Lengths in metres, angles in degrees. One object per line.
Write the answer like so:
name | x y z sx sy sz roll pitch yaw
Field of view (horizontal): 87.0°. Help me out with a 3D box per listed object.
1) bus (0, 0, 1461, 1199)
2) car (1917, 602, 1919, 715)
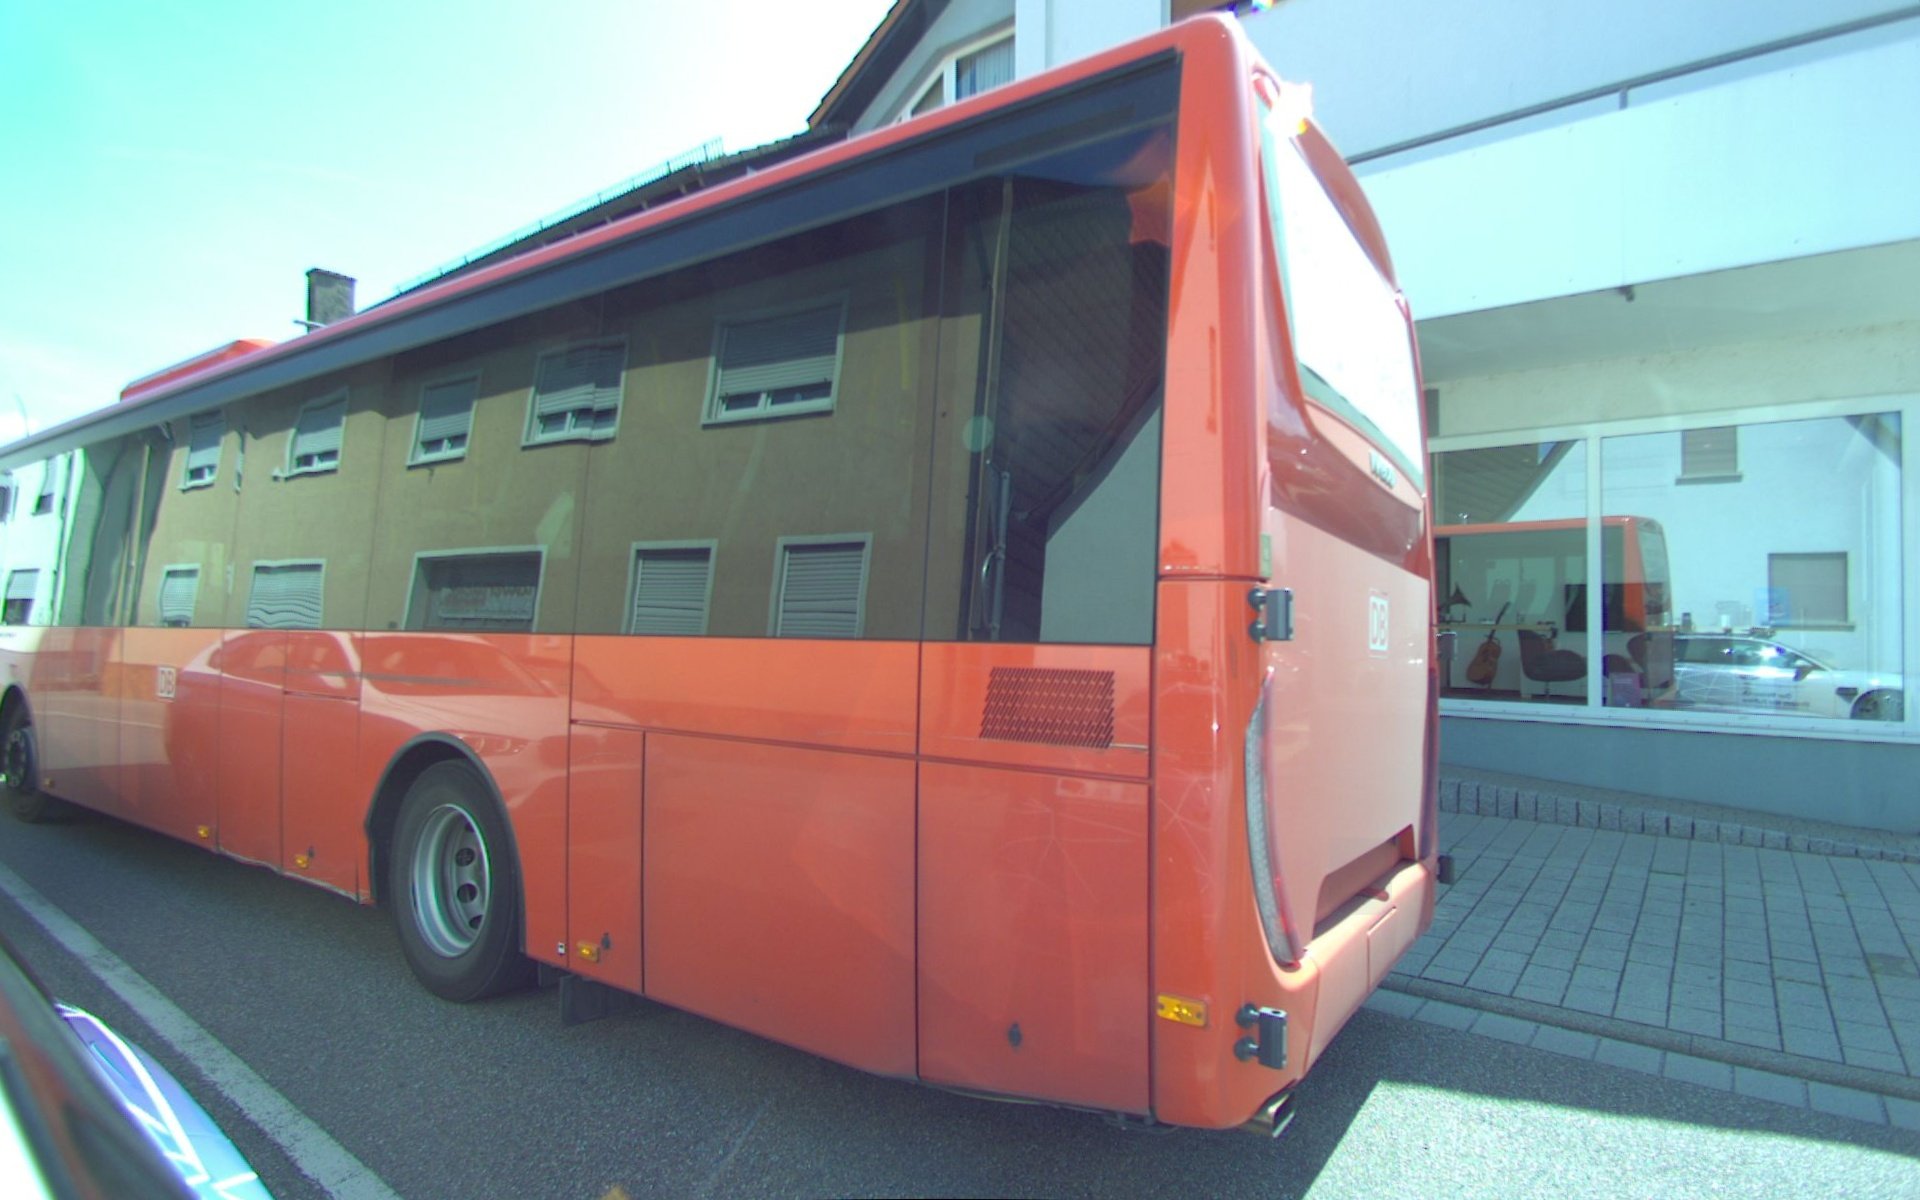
bus | -3.554 -0.016 6.600 11.996 3.257 2.603 -1 -4 36
car | 16.321 0.880 13.643 4.741 1.752 1.962 0 -1 37
